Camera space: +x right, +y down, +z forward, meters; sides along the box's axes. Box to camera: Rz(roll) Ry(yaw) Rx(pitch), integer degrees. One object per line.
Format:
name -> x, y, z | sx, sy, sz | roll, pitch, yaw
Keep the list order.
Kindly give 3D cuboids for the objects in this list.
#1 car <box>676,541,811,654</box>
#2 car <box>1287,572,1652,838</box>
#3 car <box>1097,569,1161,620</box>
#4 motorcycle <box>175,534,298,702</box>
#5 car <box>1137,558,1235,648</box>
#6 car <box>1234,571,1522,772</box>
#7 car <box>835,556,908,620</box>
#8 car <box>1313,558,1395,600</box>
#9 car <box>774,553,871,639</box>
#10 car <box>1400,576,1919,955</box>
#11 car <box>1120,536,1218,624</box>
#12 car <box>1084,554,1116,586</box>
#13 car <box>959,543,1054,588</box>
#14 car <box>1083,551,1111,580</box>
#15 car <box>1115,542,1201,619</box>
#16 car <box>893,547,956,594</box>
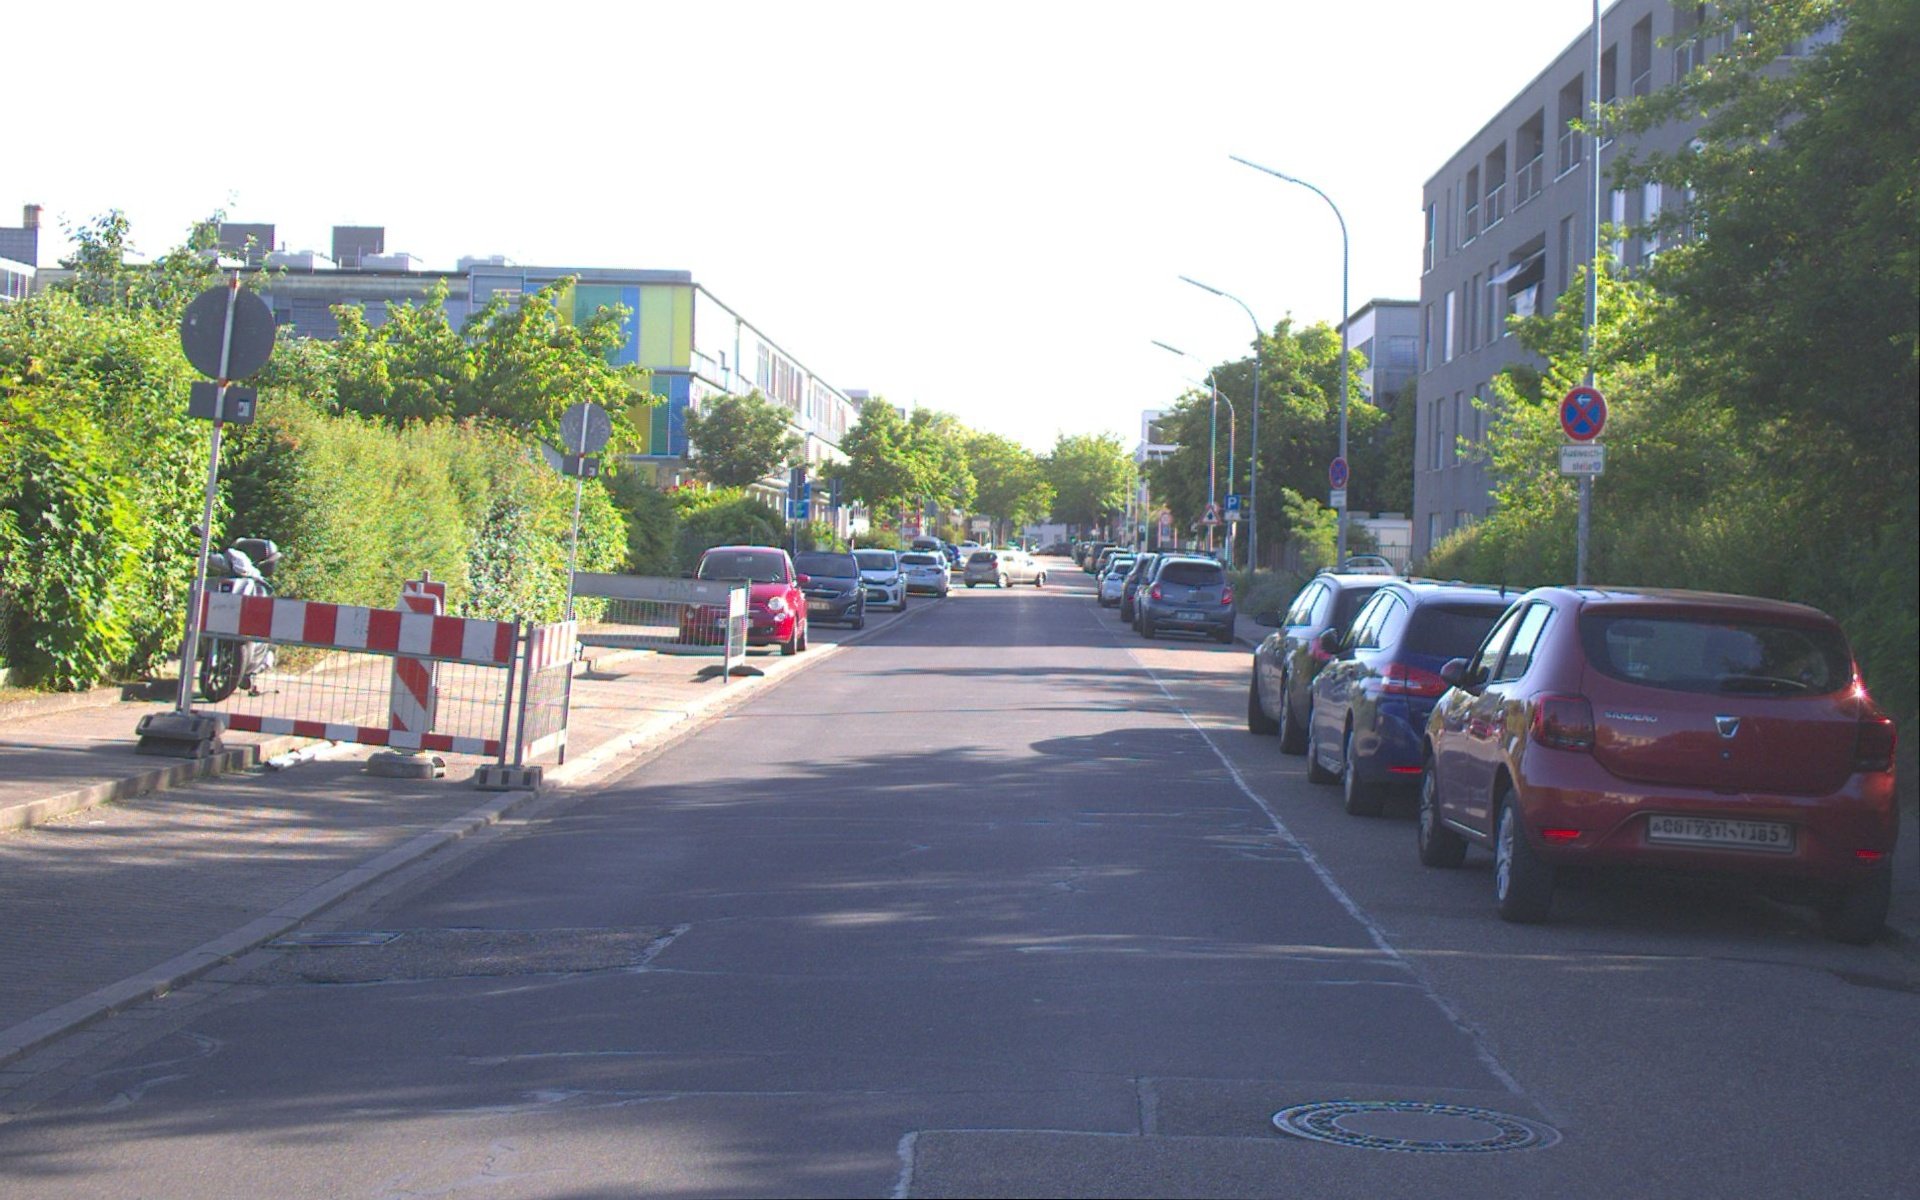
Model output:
car -> -3.011, -0.053, 48.355 | 1.559, 1.489, 3.570 | 2, 1, 1
car -> 3.220, 0.600, 22.561 | 1.655, 1.440, 4.656 | 4, 1, 1
car -> 5.085, -0.182, 103.877 | 1.742, 1.423, 4.134 | 4, 1, 1
motorcycle -> -5.782, 0.135, 27.577 | 0.566, 1.264, 2.091 | 3, 0, -3
car -> 4.217, 0.038, 64.575 | 1.623, 1.521, 3.901 | 4, 1, 2
car -> 3.394, 0.529, 28.740 | 1.754, 1.408, 4.656 | 4, 1, 0
car -> -2.136, -0.310, 83.733 | 1.559, 1.489, 3.758 | 2, 1, 1
car -> 16.304, -0.877, 142.249 | 3.216, 1.544, 1.449 | 4, 1, 5
car -> -2.637, -0.093, 66.696 | 1.560, 1.489, 3.570 | 5, 1, 1
car -> 3.223, 0.689, 16.555 | 1.655, 1.481, 3.839 | 4, 1, 1
car -> 4.217, -0.418, 69.871 | 1.676, 1.603, 4.179 | 4, 1, 1
car -> 7.104, -1.525, 174.544 | 1.445, 1.544, 3.614 | 4, 1, 1
car -> 1.819, -1.359, 134.437 | 1.694, 1.544, 3.605 | 4, 1, 41
car -> 7.971, -2.000, 199.934 | 1.445, 1.544, 3.614 | 4, 1, 1
car -> 4.577, -0.463, 79.842 | 1.742, 1.619, 4.179 | 4, 1, 1
car -> -1.147, -0.974, 112.976 | 1.854, 1.423, 4.134 | 4, 1, 1
